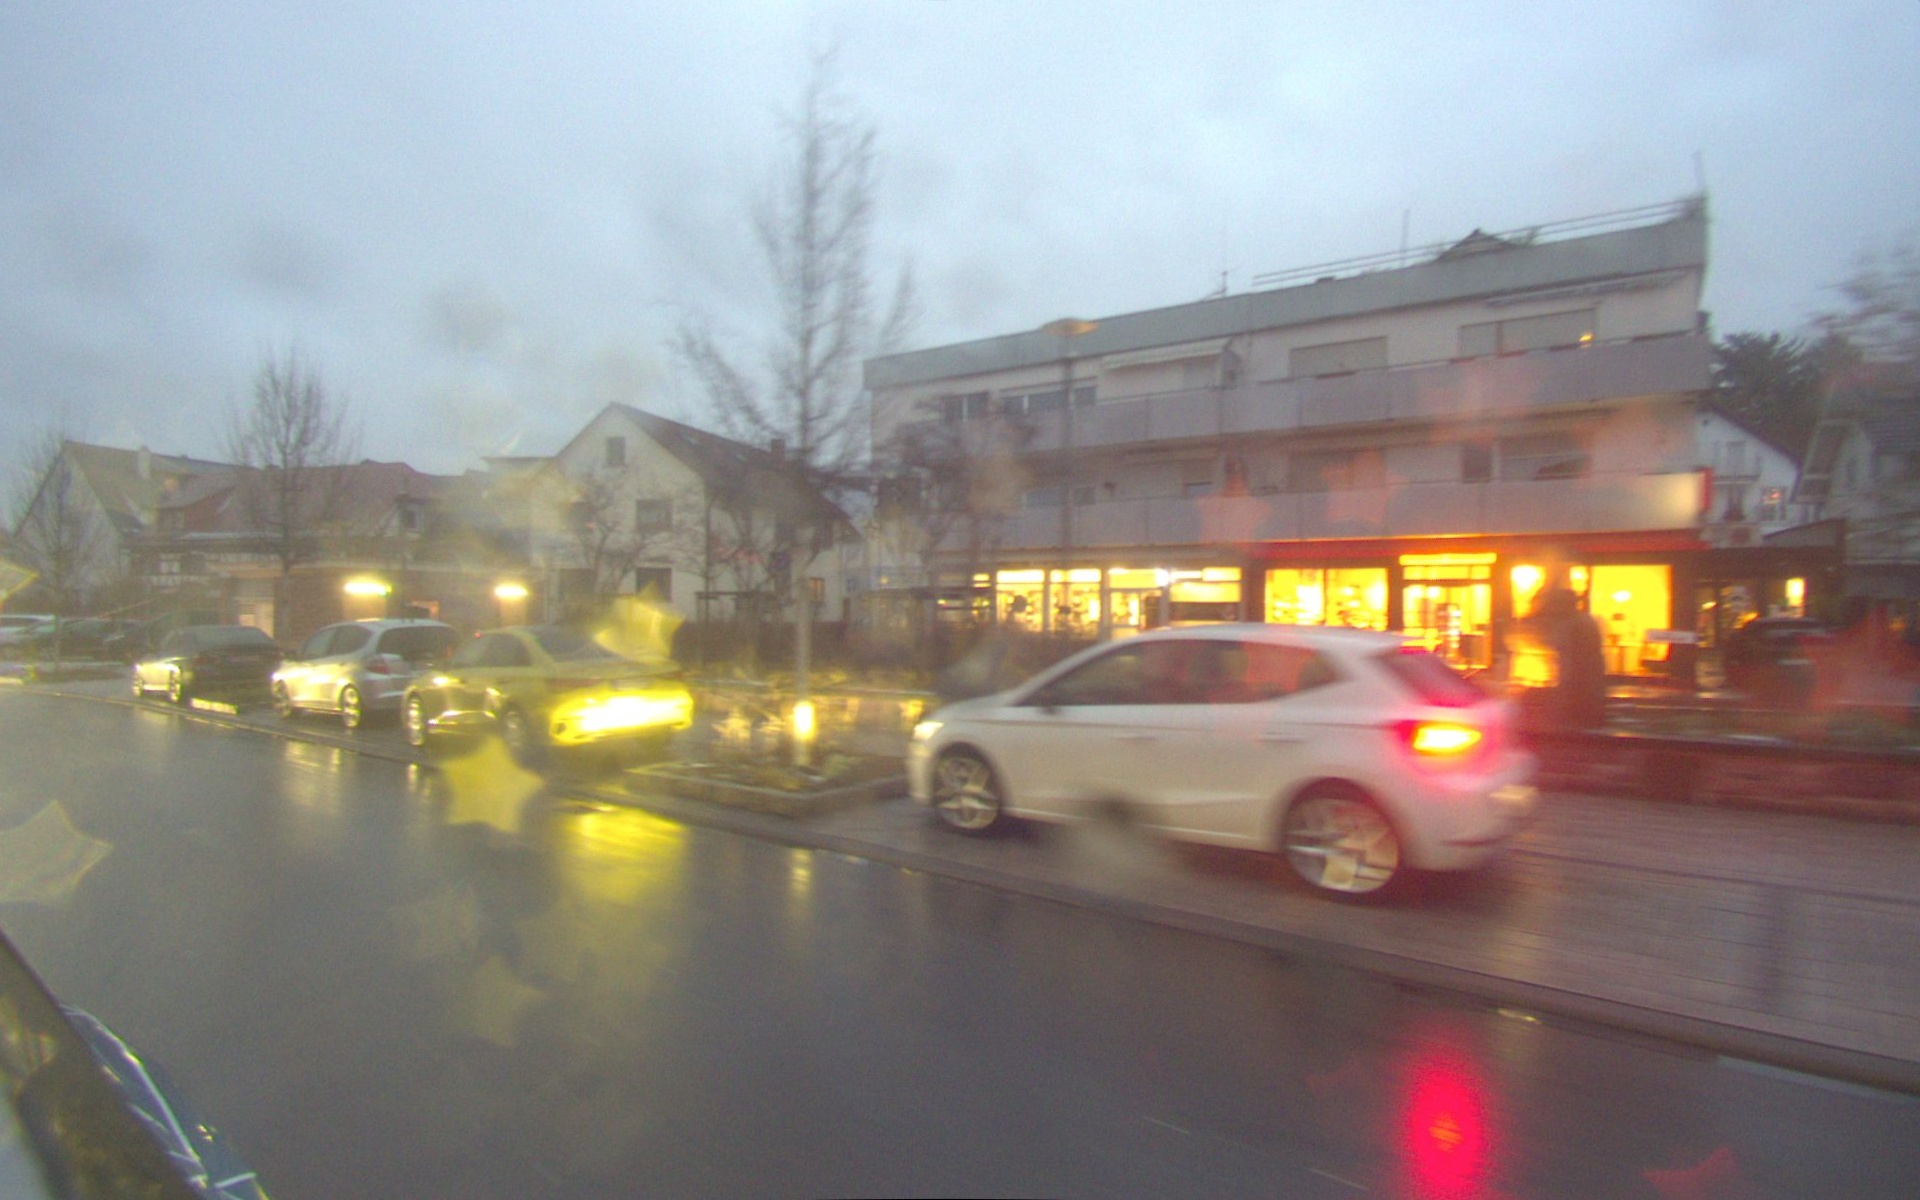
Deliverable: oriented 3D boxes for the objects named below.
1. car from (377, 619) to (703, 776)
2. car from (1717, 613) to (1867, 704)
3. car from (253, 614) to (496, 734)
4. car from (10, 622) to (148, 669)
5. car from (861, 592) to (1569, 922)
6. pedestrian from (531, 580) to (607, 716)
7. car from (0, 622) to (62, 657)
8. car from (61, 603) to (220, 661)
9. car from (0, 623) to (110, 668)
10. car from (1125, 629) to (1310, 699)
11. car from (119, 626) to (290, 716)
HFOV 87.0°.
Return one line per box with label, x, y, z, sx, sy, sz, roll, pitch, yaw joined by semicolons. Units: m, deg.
car;-4.958;0.984;11.630;4.374;1.442;1.677;-2;-1;41
car;18.752;1.279;23.013;1.993;1.858;3.958;-1;-3;31
car;-8.898;1.027;15.312;3.665;1.546;1.858;-1;0;36
car;-32.608;1.632;37.531;3.786;1.557;2.002;-1;0;-42
car;1.437;0.741;6.669;4.180;1.500;1.766;-1;0;41
pedestrian;-6.086;0.727;15.749;0.889;2.029;0.792;0;-2;-40
car;-38.029;1.556;39.825;3.941;1.309;2.001;-1;0;-45
car;-26.625;1.015;33.064;3.934;1.776;1.437;0;-1;-36
car;-35.115;1.731;38.690;3.937;1.559;2.003;-1;0;-40
car;6.290;1.515;24.823;3.988;1.576;1.977;-1;-3;33
car;-14.912;1.309;19.899;4.136;1.546;1.817;-1;0;40
